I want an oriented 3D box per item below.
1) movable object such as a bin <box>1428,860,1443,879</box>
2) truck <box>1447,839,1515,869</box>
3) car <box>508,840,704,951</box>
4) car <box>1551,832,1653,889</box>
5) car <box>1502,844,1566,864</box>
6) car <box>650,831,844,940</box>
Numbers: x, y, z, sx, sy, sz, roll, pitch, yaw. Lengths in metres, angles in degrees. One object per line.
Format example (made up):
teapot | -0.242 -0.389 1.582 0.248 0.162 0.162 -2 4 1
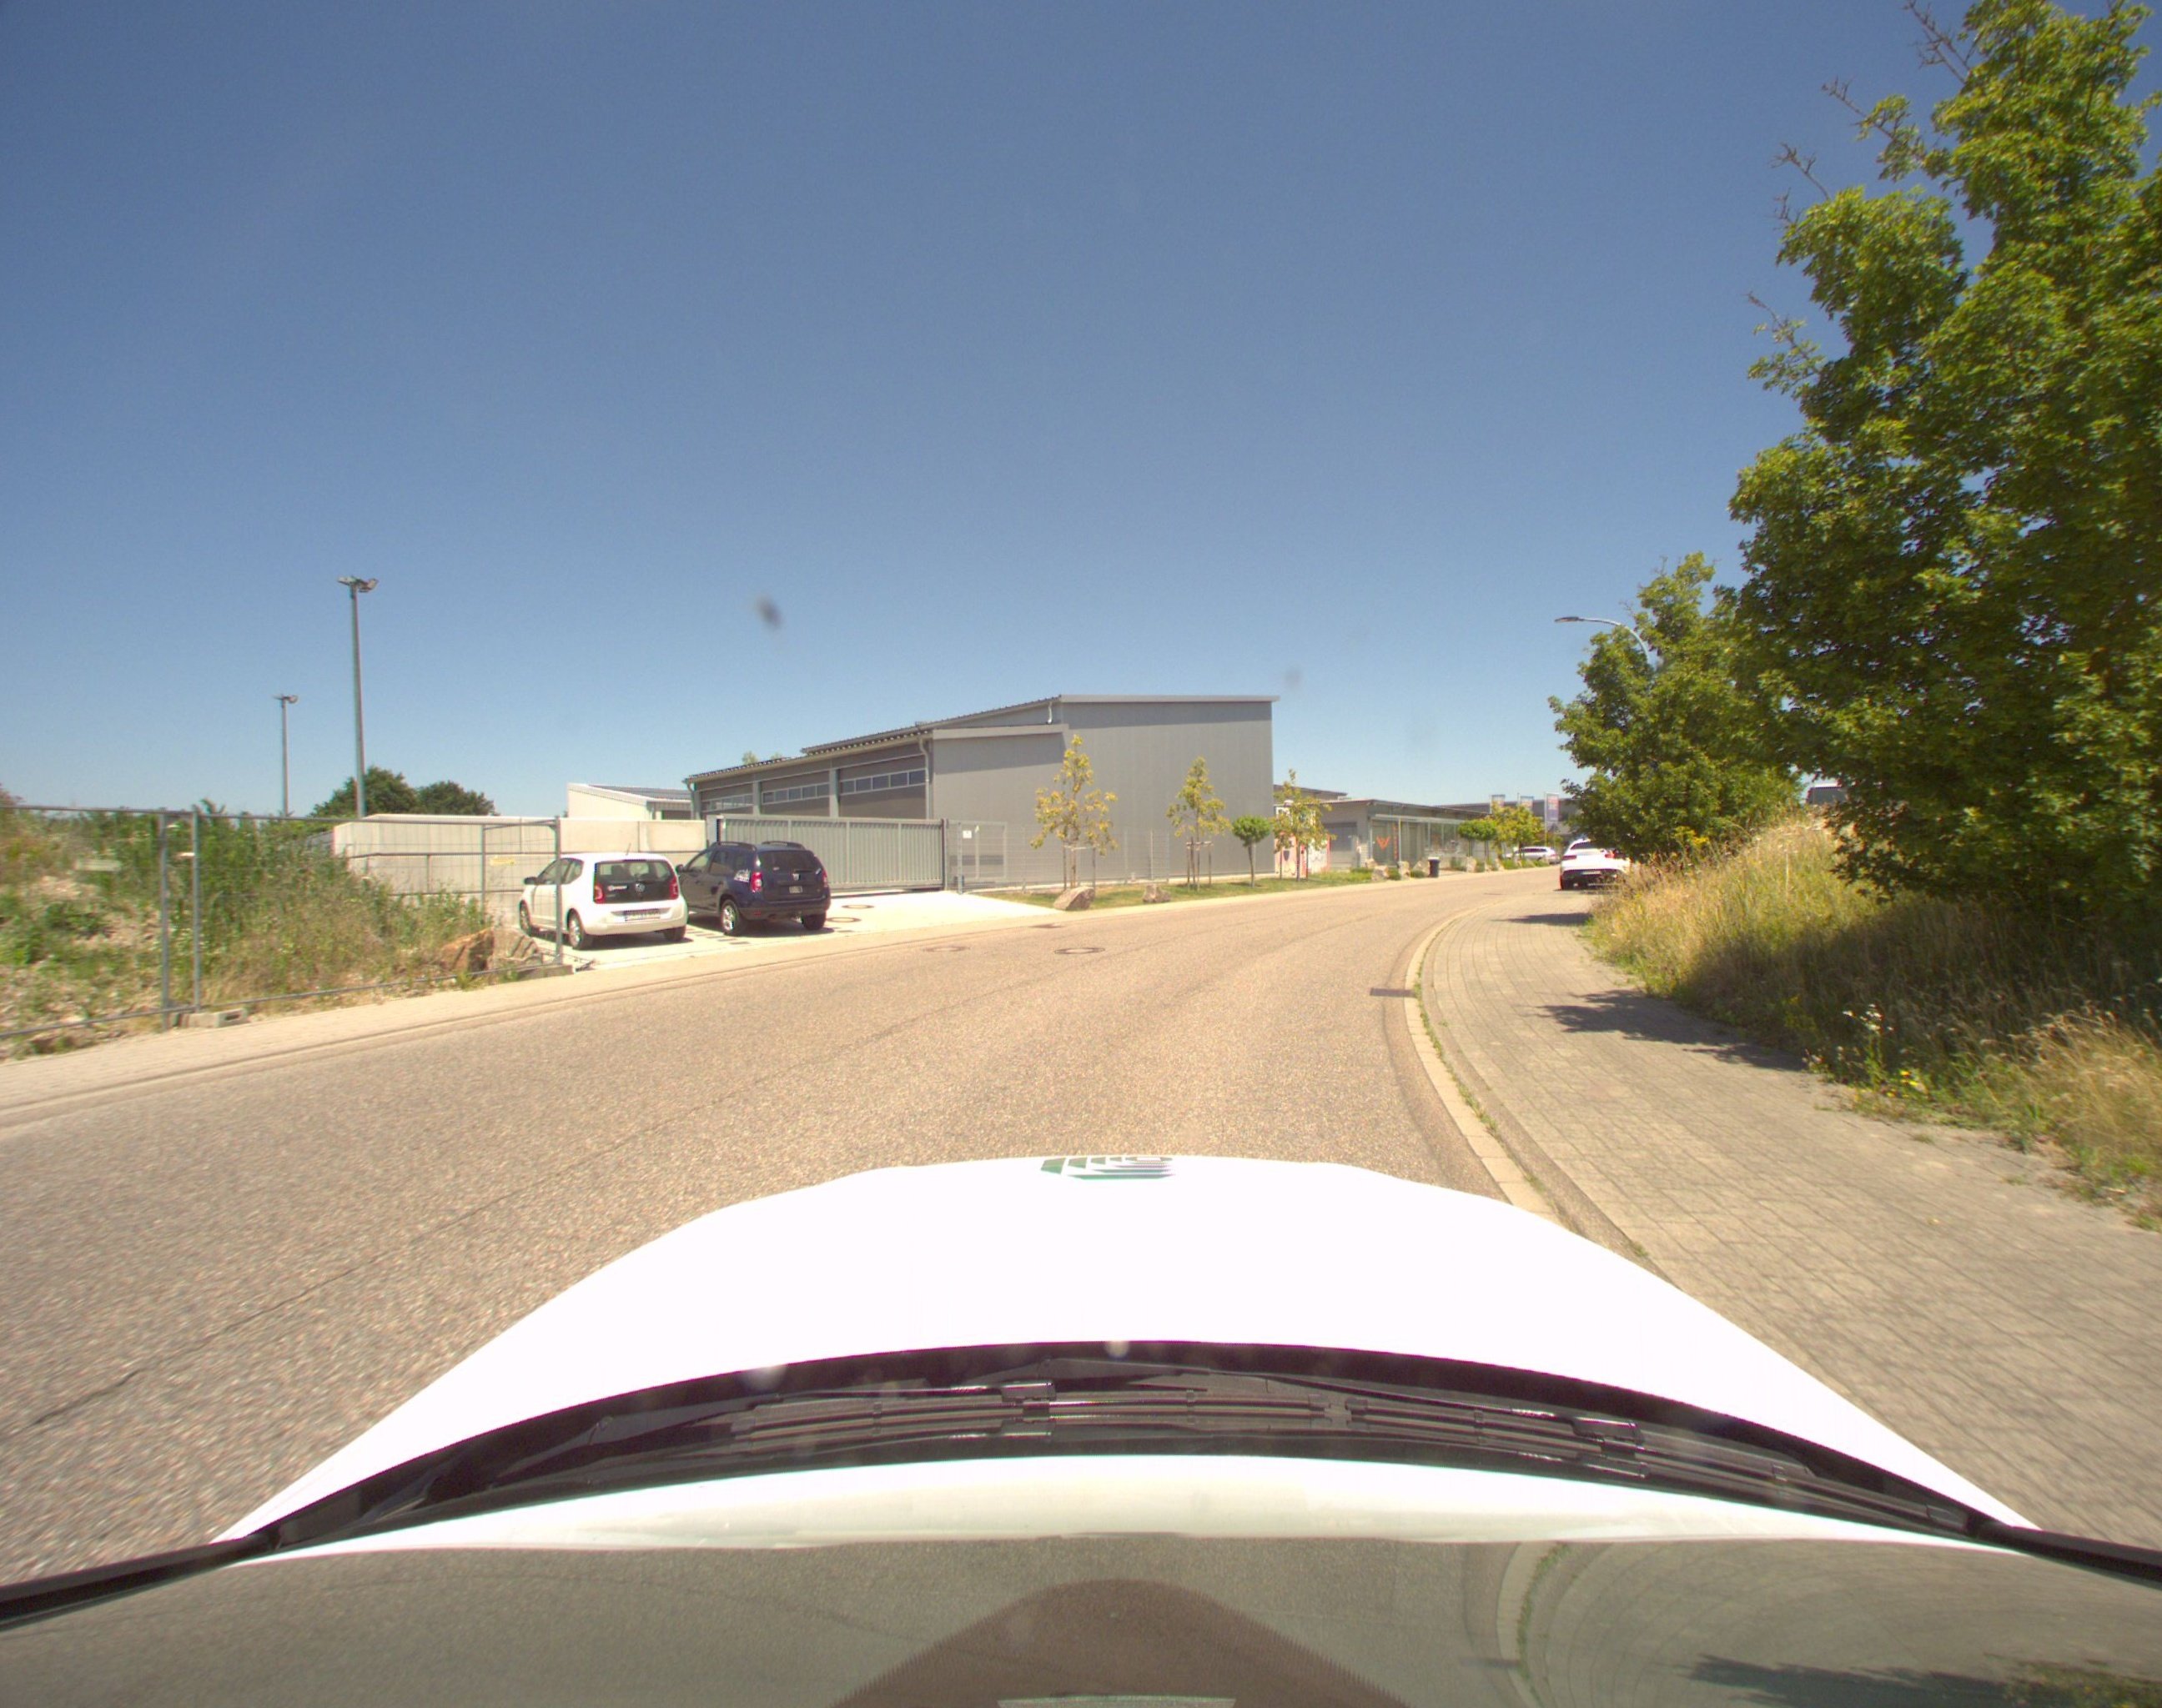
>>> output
movable object such as a bin | 17.871 0.771 41.038 0.565 0.949 0.515 -1 0 36
truck | 48.938 -0.032 99.932 2.586 3.557 8.012 0 0 -19
car | -8.095 0.602 13.790 3.329 1.461 1.793 5 3 39
car | 17.628 0.210 27.444 2.123 1.699 4.814 -4 -2 41
car | 36.611 -0.001 65.830 4.221 1.518 1.877 -1 -1 41
car | -6.580 0.501 15.841 4.124 1.658 1.792 5 3 41
